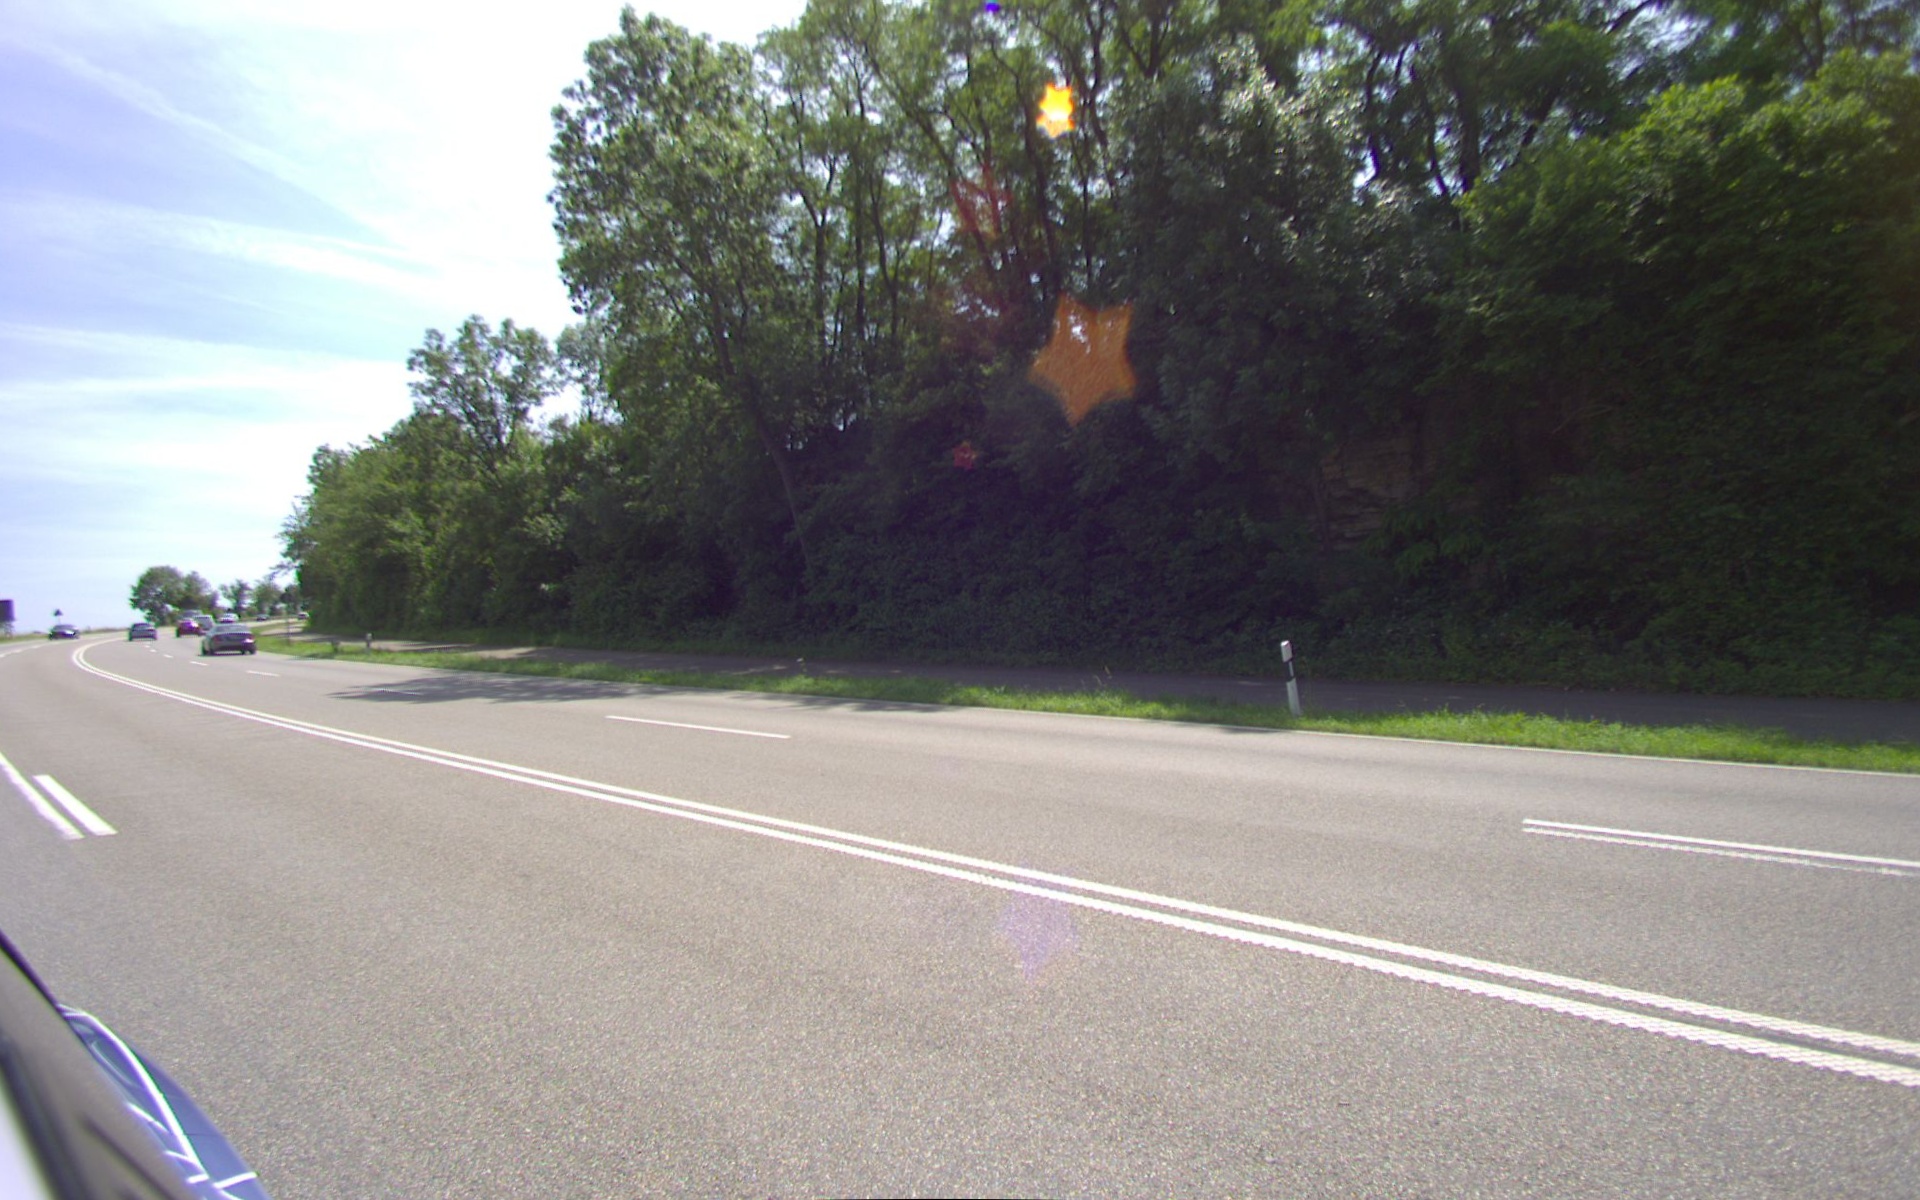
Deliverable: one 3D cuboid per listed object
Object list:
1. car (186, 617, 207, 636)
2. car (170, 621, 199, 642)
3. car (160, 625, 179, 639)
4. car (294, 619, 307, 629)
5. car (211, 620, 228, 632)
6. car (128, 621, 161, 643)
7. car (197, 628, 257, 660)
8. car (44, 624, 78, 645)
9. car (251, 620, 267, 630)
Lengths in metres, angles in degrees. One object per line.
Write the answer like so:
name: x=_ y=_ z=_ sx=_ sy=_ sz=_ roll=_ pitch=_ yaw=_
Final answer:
car: x=-85.653 y=2.903 z=113.532 sx=1.789 sy=2.029 sz=3.879 roll=-1 pitch=0 yaw=-36
car: x=-70.070 y=2.825 z=91.443 sx=1.967 sy=1.687 sz=4.009 roll=-1 pitch=0 yaw=-36
car: x=-121.507 y=4.927 z=155.504 sx=1.967 sy=2.029 sz=4.010 roll=-1 pitch=-1 yaw=-34
car: x=-132.668 y=4.821 z=203.708 sx=1.966 sy=2.029 sz=4.012 roll=-1 pitch=0 yaw=-30
car: x=-129.516 y=4.572 z=176.985 sx=1.821 sy=2.029 sz=3.884 roll=-1 pitch=0 yaw=-28
car: x=-66.255 y=2.600 z=82.264 sx=1.930 sy=1.741 sz=3.919 roll=-1 pitch=-1 yaw=-36
car: x=-34.127 y=2.030 z=47.083 sx=1.781 sy=1.398 sz=3.874 roll=-1 pitch=-1 yaw=-43
car: x=-82.481 y=3.145 z=92.888 sx=1.967 sy=1.741 sz=4.009 roll=-1 pitch=0 yaw=-36
car: x=-137.130 y=4.860 z=198.042 sx=1.737 sy=1.874 sz=3.822 roll=-1 pitch=0 yaw=-22
